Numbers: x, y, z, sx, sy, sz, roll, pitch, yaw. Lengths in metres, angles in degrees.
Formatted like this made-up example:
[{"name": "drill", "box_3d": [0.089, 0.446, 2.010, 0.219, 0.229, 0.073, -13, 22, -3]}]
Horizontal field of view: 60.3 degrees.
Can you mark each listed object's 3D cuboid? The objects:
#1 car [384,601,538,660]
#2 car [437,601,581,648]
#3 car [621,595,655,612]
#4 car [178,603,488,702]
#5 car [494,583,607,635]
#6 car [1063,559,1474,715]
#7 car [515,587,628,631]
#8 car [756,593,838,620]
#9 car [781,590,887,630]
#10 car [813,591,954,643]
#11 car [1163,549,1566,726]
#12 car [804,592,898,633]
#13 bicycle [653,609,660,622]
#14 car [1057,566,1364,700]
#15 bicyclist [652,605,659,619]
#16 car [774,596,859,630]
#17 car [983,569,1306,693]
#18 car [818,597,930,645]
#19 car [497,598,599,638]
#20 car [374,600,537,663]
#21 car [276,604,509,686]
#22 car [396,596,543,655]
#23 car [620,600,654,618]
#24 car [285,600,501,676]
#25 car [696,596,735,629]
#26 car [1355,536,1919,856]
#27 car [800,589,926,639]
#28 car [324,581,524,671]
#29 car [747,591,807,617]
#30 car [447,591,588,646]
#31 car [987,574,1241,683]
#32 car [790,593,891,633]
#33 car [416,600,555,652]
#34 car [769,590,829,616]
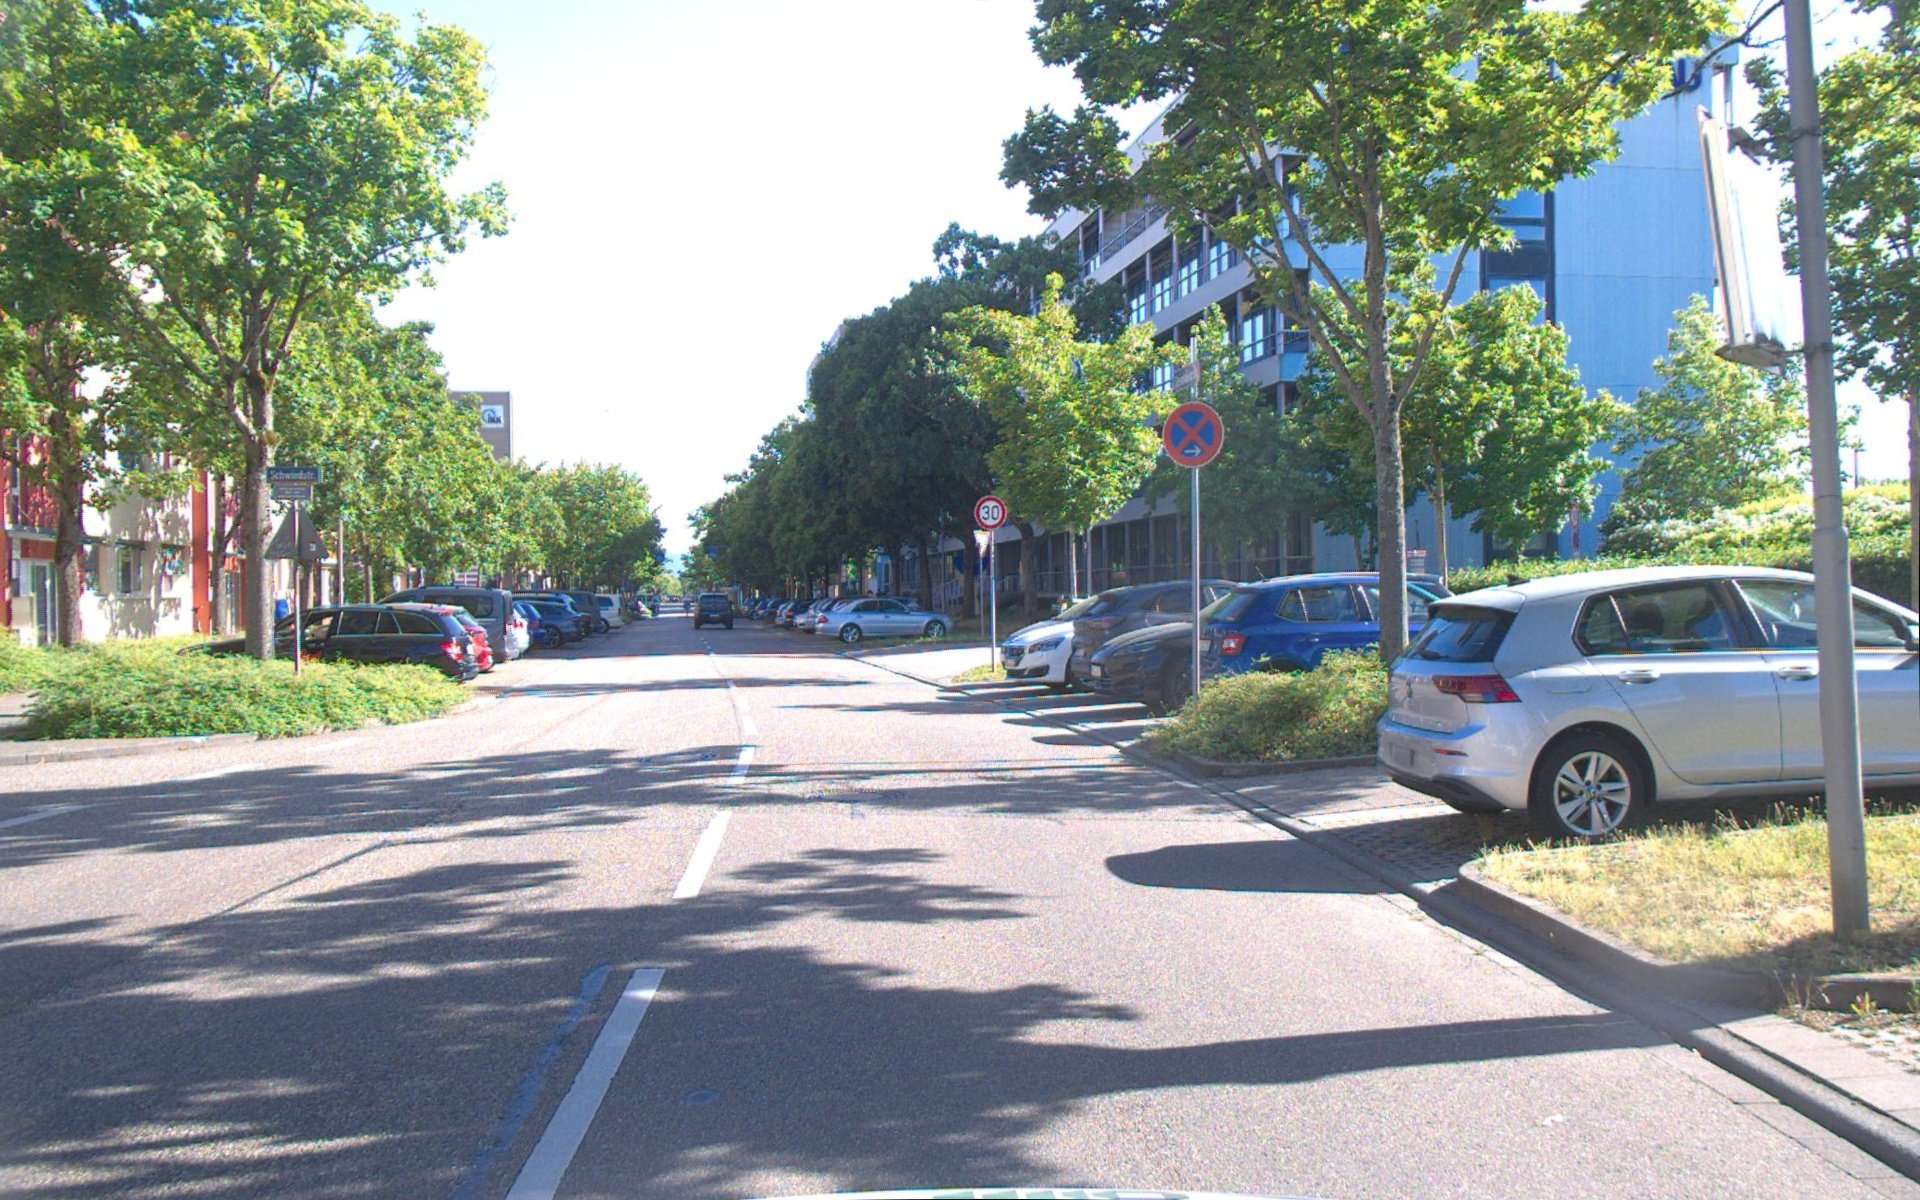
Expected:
[{"name": "car", "box_3d": [-12.879, 0.782, 42.887, 3.662, 1.472, 1.853, 1, 0, -14]}, {"name": "car", "box_3d": [-14.351, 0.777, 52.837, 4.325, 1.452, 1.767, 1, 0, -12]}, {"name": "car", "box_3d": [-39.939, 0.451, 205.249, 3.910, 2.049, 1.997, -1, 0, -6]}, {"name": "car", "box_3d": [-9.701, 0.800, 25.866, 4.181, 1.448, 1.737, 1, 0, -6]}, {"name": "car", "box_3d": [-17.255, 0.375, 69.857, 4.404, 2.126, 2.079, 1, 0, -8]}, {"name": "car", "box_3d": [3.719, 0.429, 20.409, 4.467, 1.541, 2.154, -4, 0, -10]}, {"name": "car", "box_3d": [-18.665, 0.435, 79.729, 5.162, 2.001, 1.938, 1, 0, -10]}, {"name": "car", "box_3d": [-10.023, 0.392, 101.614, 4.740, 1.444, 2.026, -3, 0, -12]}, {"name": "car", "box_3d": [-5.683, 0.446, 74.405, 4.509, 1.519, 1.759, -4, 0, -10]}, {"name": "car", "box_3d": [-2.577, 0.552, 55.096, 4.494, 1.501, 1.743, -3, 0, -9]}, {"name": "car", "box_3d": [4.258, 0.375, 17.709, 3.735, 1.473, 1.741, -5, 0, -8]}, {"name": "car", "box_3d": [-4.606, 0.519, 69.836, 3.680, 1.519, 1.611, -3, 0, -14]}, {"name": "bicycle", "box_3d": [-25.974, 1.323, 141.481, 0.522, 1.091, 1.298, -1, 0, -7]}, {"name": "car", "box_3d": [3.421, 0.443, 22.942, 3.805, 1.541, 1.747, -4, 0, -10]}, {"name": "bicyclist", "box_3d": [-26.018, 1.024, 141.473, 0.522, 1.110, 0.793, -1, 0, -7]}, {"name": "car", "box_3d": [-6.954, 0.611, 79.912, 3.900, 1.444, 1.705, -3, 0, -12]}, {"name": "car", "box_3d": [2.799, 0.460, 25.430, 4.476, 1.541, 1.974, -4, 0, -16]}, {"name": "car", "box_3d": [-3.034, 0.708, 57.900, 3.764, 1.472, 1.919, -3, 0, -7]}, {"name": "car", "box_3d": [-15.586, 0.683, 62.531, 3.665, 1.452, 1.718, 1, 0, -16]}, {"name": "car", "box_3d": [-12.321, 0.765, 40.595, 3.662, 1.472, 1.869, 1, 0, -14]}, {"name": "car", "box_3d": [-10.446, 0.821, 30.683, 3.821, 1.448, 1.735, 1, 0, -10]}, {"name": "car", "box_3d": [-13.432, 0.693, 45.453, 3.659, 1.535, 1.855, 1, 0, -11]}, {"name": "car", "box_3d": [-39.510, 1.064, 202.263, 3.910, 2.049, 1.997, -1, 0, -6]}, {"name": "car", "box_3d": [-11.311, 0.747, 33.213, 3.821, 1.448, 1.735, 1, 0, -10]}, {"name": "car", "box_3d": [-12.909, 0.651, 87.212, 1.957, 1.669, 3.990, 1, 0, -10]}, {"name": "car", "box_3d": [4.584, 0.461, 9.735, 4.009, 1.454, 1.641, -5, 0, -3]}, {"name": "car", "box_3d": [-3.568, 0.493, 60.307, 4.429, 1.569, 1.919, -3, 0, -6]}, {"name": "car", "box_3d": [-11.446, 0.552, 35.538, 3.821, 1.843, 1.782, 1, 0, -10]}, {"name": "car", "box_3d": [-13.715, 0.268, 123.922, 4.276, 1.733, 1.807, -3, 0, -13]}, {"name": "car", "box_3d": [-14.756, 0.605, 55.381, 4.236, 1.747, 1.960, 1, 0, -5]}, {"name": "car", "box_3d": [2.588, 0.470, 28.038, 3.884, 1.541, 1.694, -4, 0, -16]}, {"name": "car", "box_3d": [-5.244, 0.541, 72.306, 4.208, 1.519, 1.999, -3, 0, -11]}, {"name": "car", "box_3d": [-13.632, 0.746, 47.726, 3.659, 1.452, 1.836, 1, 0, -11]}, {"name": "car", "box_3d": [-10.716, 0.191, 109.982, 3.876, 1.541, 1.809, -3, 0, -9]}]
